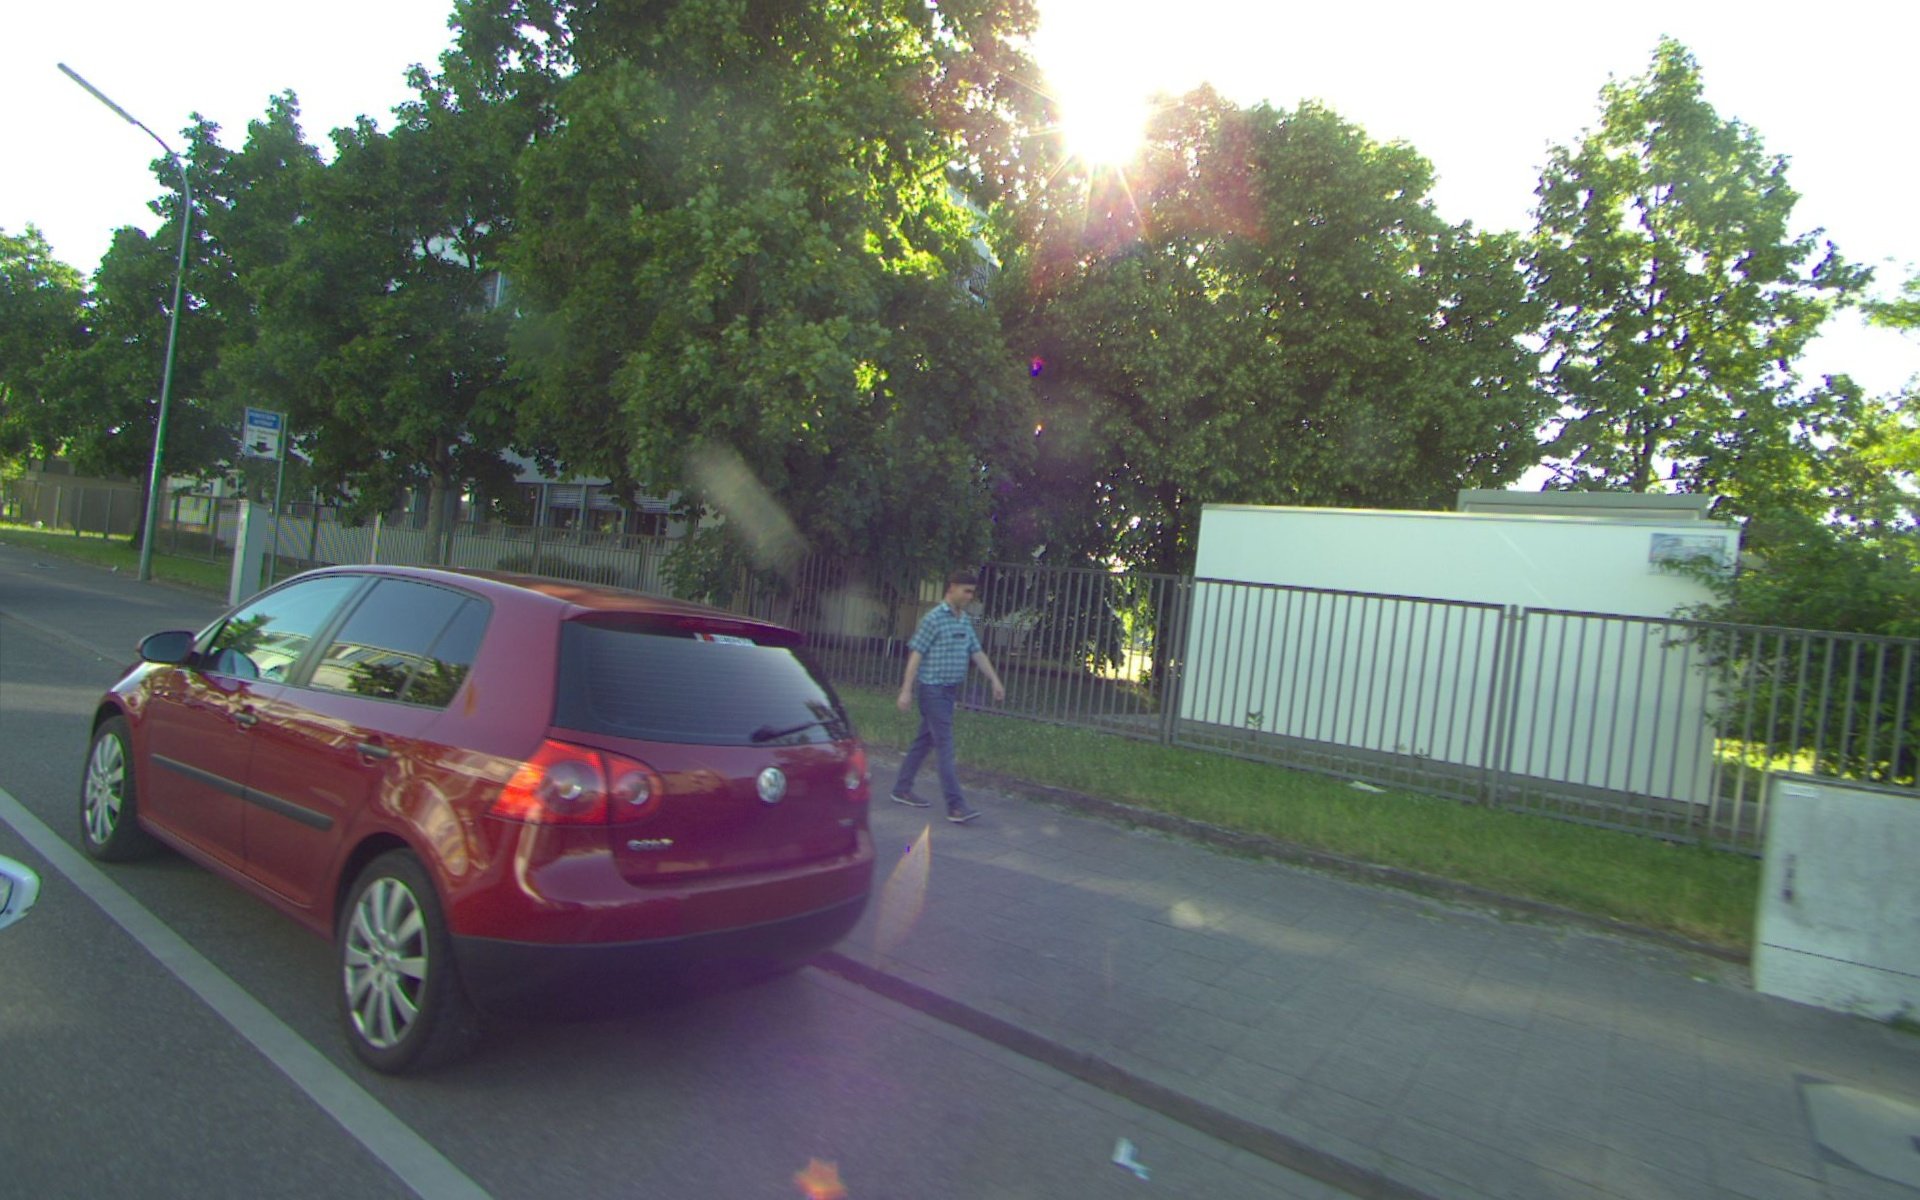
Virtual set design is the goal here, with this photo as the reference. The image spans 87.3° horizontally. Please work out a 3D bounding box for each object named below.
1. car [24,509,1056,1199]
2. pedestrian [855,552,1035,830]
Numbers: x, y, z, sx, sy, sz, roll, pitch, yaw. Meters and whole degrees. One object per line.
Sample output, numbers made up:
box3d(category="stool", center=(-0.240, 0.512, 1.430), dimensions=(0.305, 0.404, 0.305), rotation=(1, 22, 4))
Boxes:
box3d(category="car", center=(-2.080, 0.590, 4.237), dimensions=(4.579, 1.472, 1.721), rotation=(6, -2, 35))
box3d(category="pedestrian", center=(-0.107, 0.607, 7.149), dimensions=(0.871, 1.781, 0.717), rotation=(7, 3, 36))
